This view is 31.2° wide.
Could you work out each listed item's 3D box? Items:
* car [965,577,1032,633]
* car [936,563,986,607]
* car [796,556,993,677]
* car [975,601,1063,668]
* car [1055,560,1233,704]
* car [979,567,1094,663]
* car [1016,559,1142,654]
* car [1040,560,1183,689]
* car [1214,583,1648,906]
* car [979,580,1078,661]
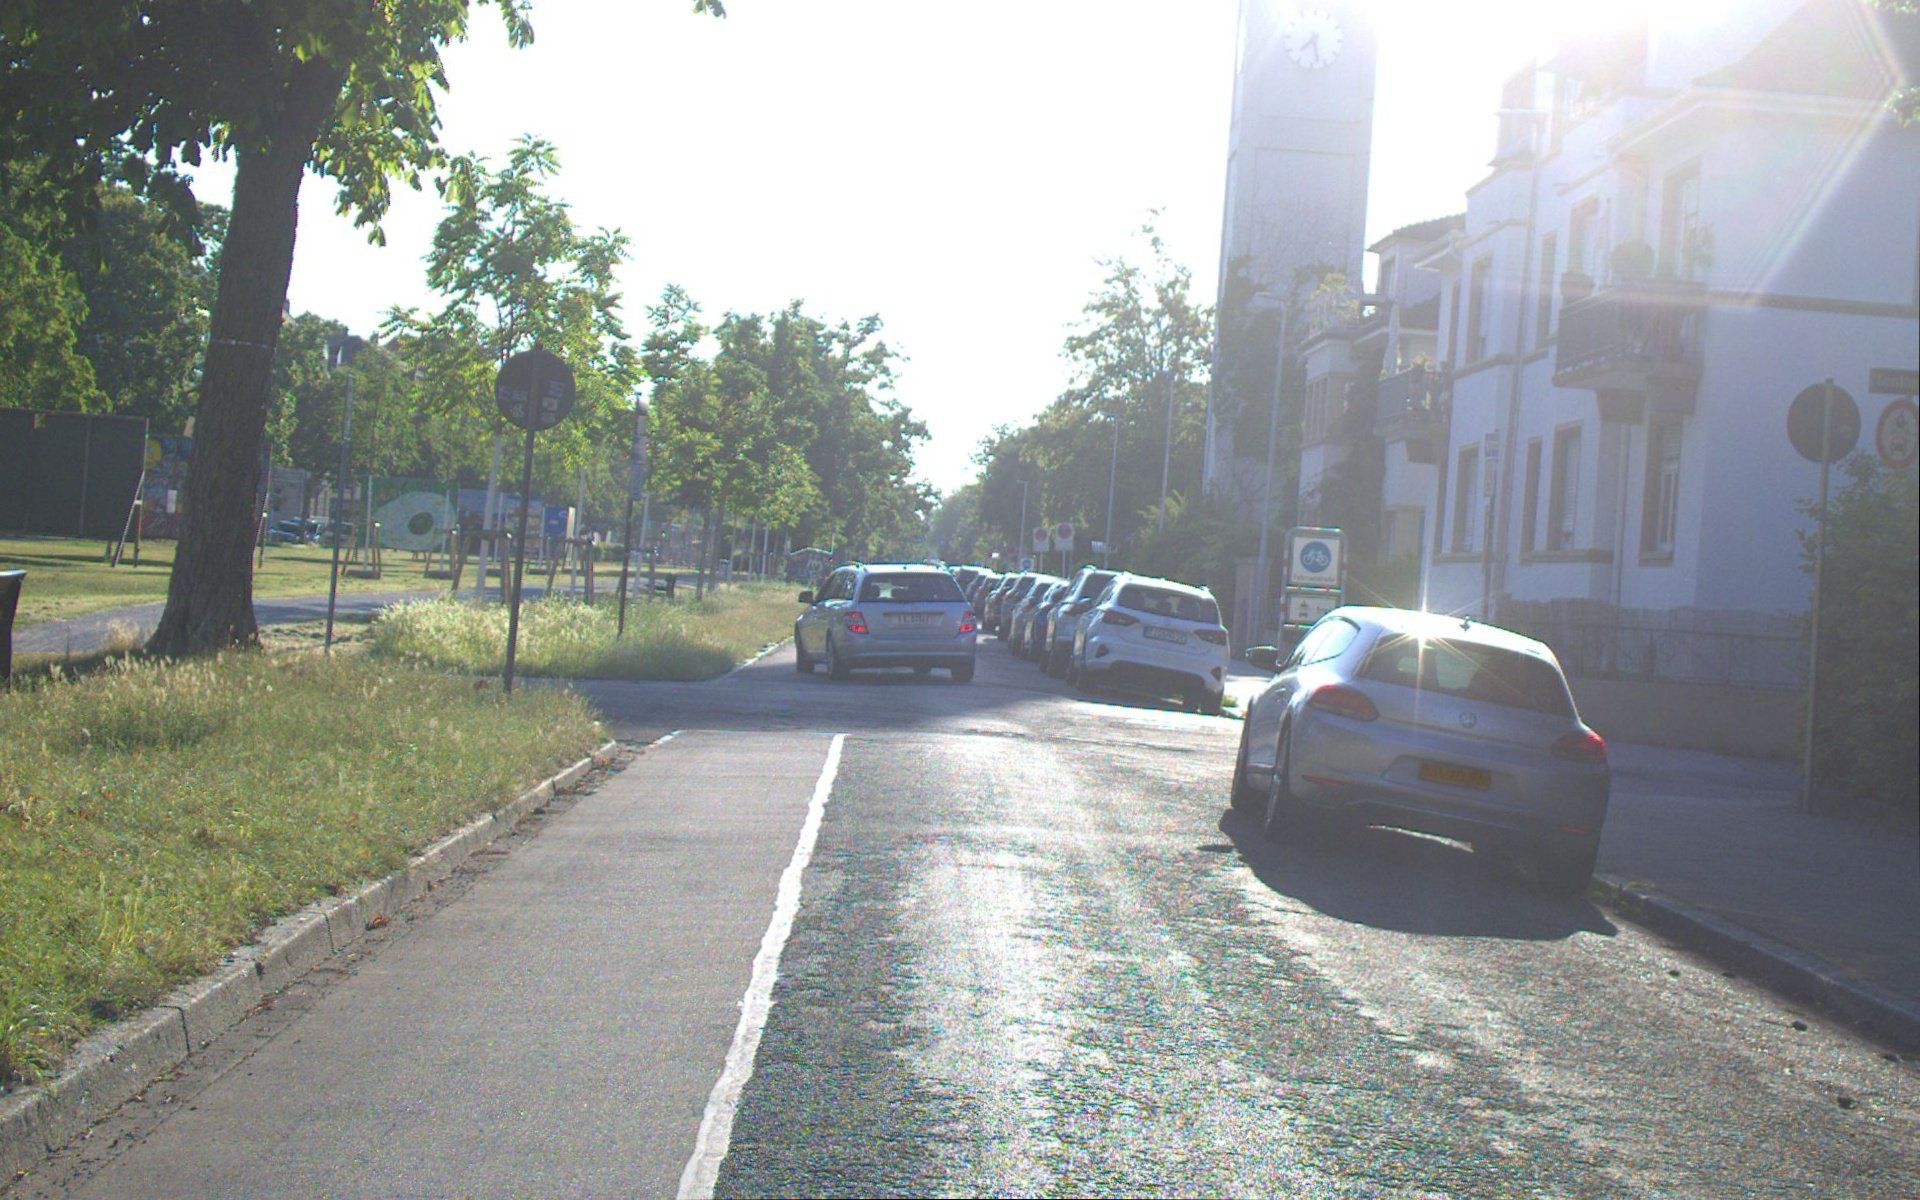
[{"bbox_3d":[1.225,0.150,110.810,1.993,1.624,4.000,5,0,0],"label":"car"},{"bbox_3d":[0.040,-0.630,145.427,1.980,1.677,4.000,5,0,0],"label":"car"},{"bbox_3d":[-0.868,0.187,42.877,1.760,1.415,4.001,1,0,-11],"label":"car"},{"bbox_3d":[1.423,0.831,84.691,1.993,1.459,4.000,5,0,0],"label":"car"},{"bbox_3d":[2.286,0.370,43.645,1.758,1.599,4.359,4,0,-2],"label":"car"},{"bbox_3d":[1.385,0.257,63.878,1.758,1.599,4.359,4,0,-2],"label":"car"},{"bbox_3d":[1.988,0.085,58.516,1.761,1.415,4.000,4,1,-2],"label":"car"},{"bbox_3d":[2.140,0.311,49.469,1.685,1.645,4.100,4,1,-1],"label":"car"},{"bbox_3d":[2.660,0.767,20.353,1.757,1.415,4.072,11,0,0],"label":"car"},{"bbox_3d":[1.451,0.434,74.108,1.761,1.516,4.000,6,0,-2],"label":"car"}]
